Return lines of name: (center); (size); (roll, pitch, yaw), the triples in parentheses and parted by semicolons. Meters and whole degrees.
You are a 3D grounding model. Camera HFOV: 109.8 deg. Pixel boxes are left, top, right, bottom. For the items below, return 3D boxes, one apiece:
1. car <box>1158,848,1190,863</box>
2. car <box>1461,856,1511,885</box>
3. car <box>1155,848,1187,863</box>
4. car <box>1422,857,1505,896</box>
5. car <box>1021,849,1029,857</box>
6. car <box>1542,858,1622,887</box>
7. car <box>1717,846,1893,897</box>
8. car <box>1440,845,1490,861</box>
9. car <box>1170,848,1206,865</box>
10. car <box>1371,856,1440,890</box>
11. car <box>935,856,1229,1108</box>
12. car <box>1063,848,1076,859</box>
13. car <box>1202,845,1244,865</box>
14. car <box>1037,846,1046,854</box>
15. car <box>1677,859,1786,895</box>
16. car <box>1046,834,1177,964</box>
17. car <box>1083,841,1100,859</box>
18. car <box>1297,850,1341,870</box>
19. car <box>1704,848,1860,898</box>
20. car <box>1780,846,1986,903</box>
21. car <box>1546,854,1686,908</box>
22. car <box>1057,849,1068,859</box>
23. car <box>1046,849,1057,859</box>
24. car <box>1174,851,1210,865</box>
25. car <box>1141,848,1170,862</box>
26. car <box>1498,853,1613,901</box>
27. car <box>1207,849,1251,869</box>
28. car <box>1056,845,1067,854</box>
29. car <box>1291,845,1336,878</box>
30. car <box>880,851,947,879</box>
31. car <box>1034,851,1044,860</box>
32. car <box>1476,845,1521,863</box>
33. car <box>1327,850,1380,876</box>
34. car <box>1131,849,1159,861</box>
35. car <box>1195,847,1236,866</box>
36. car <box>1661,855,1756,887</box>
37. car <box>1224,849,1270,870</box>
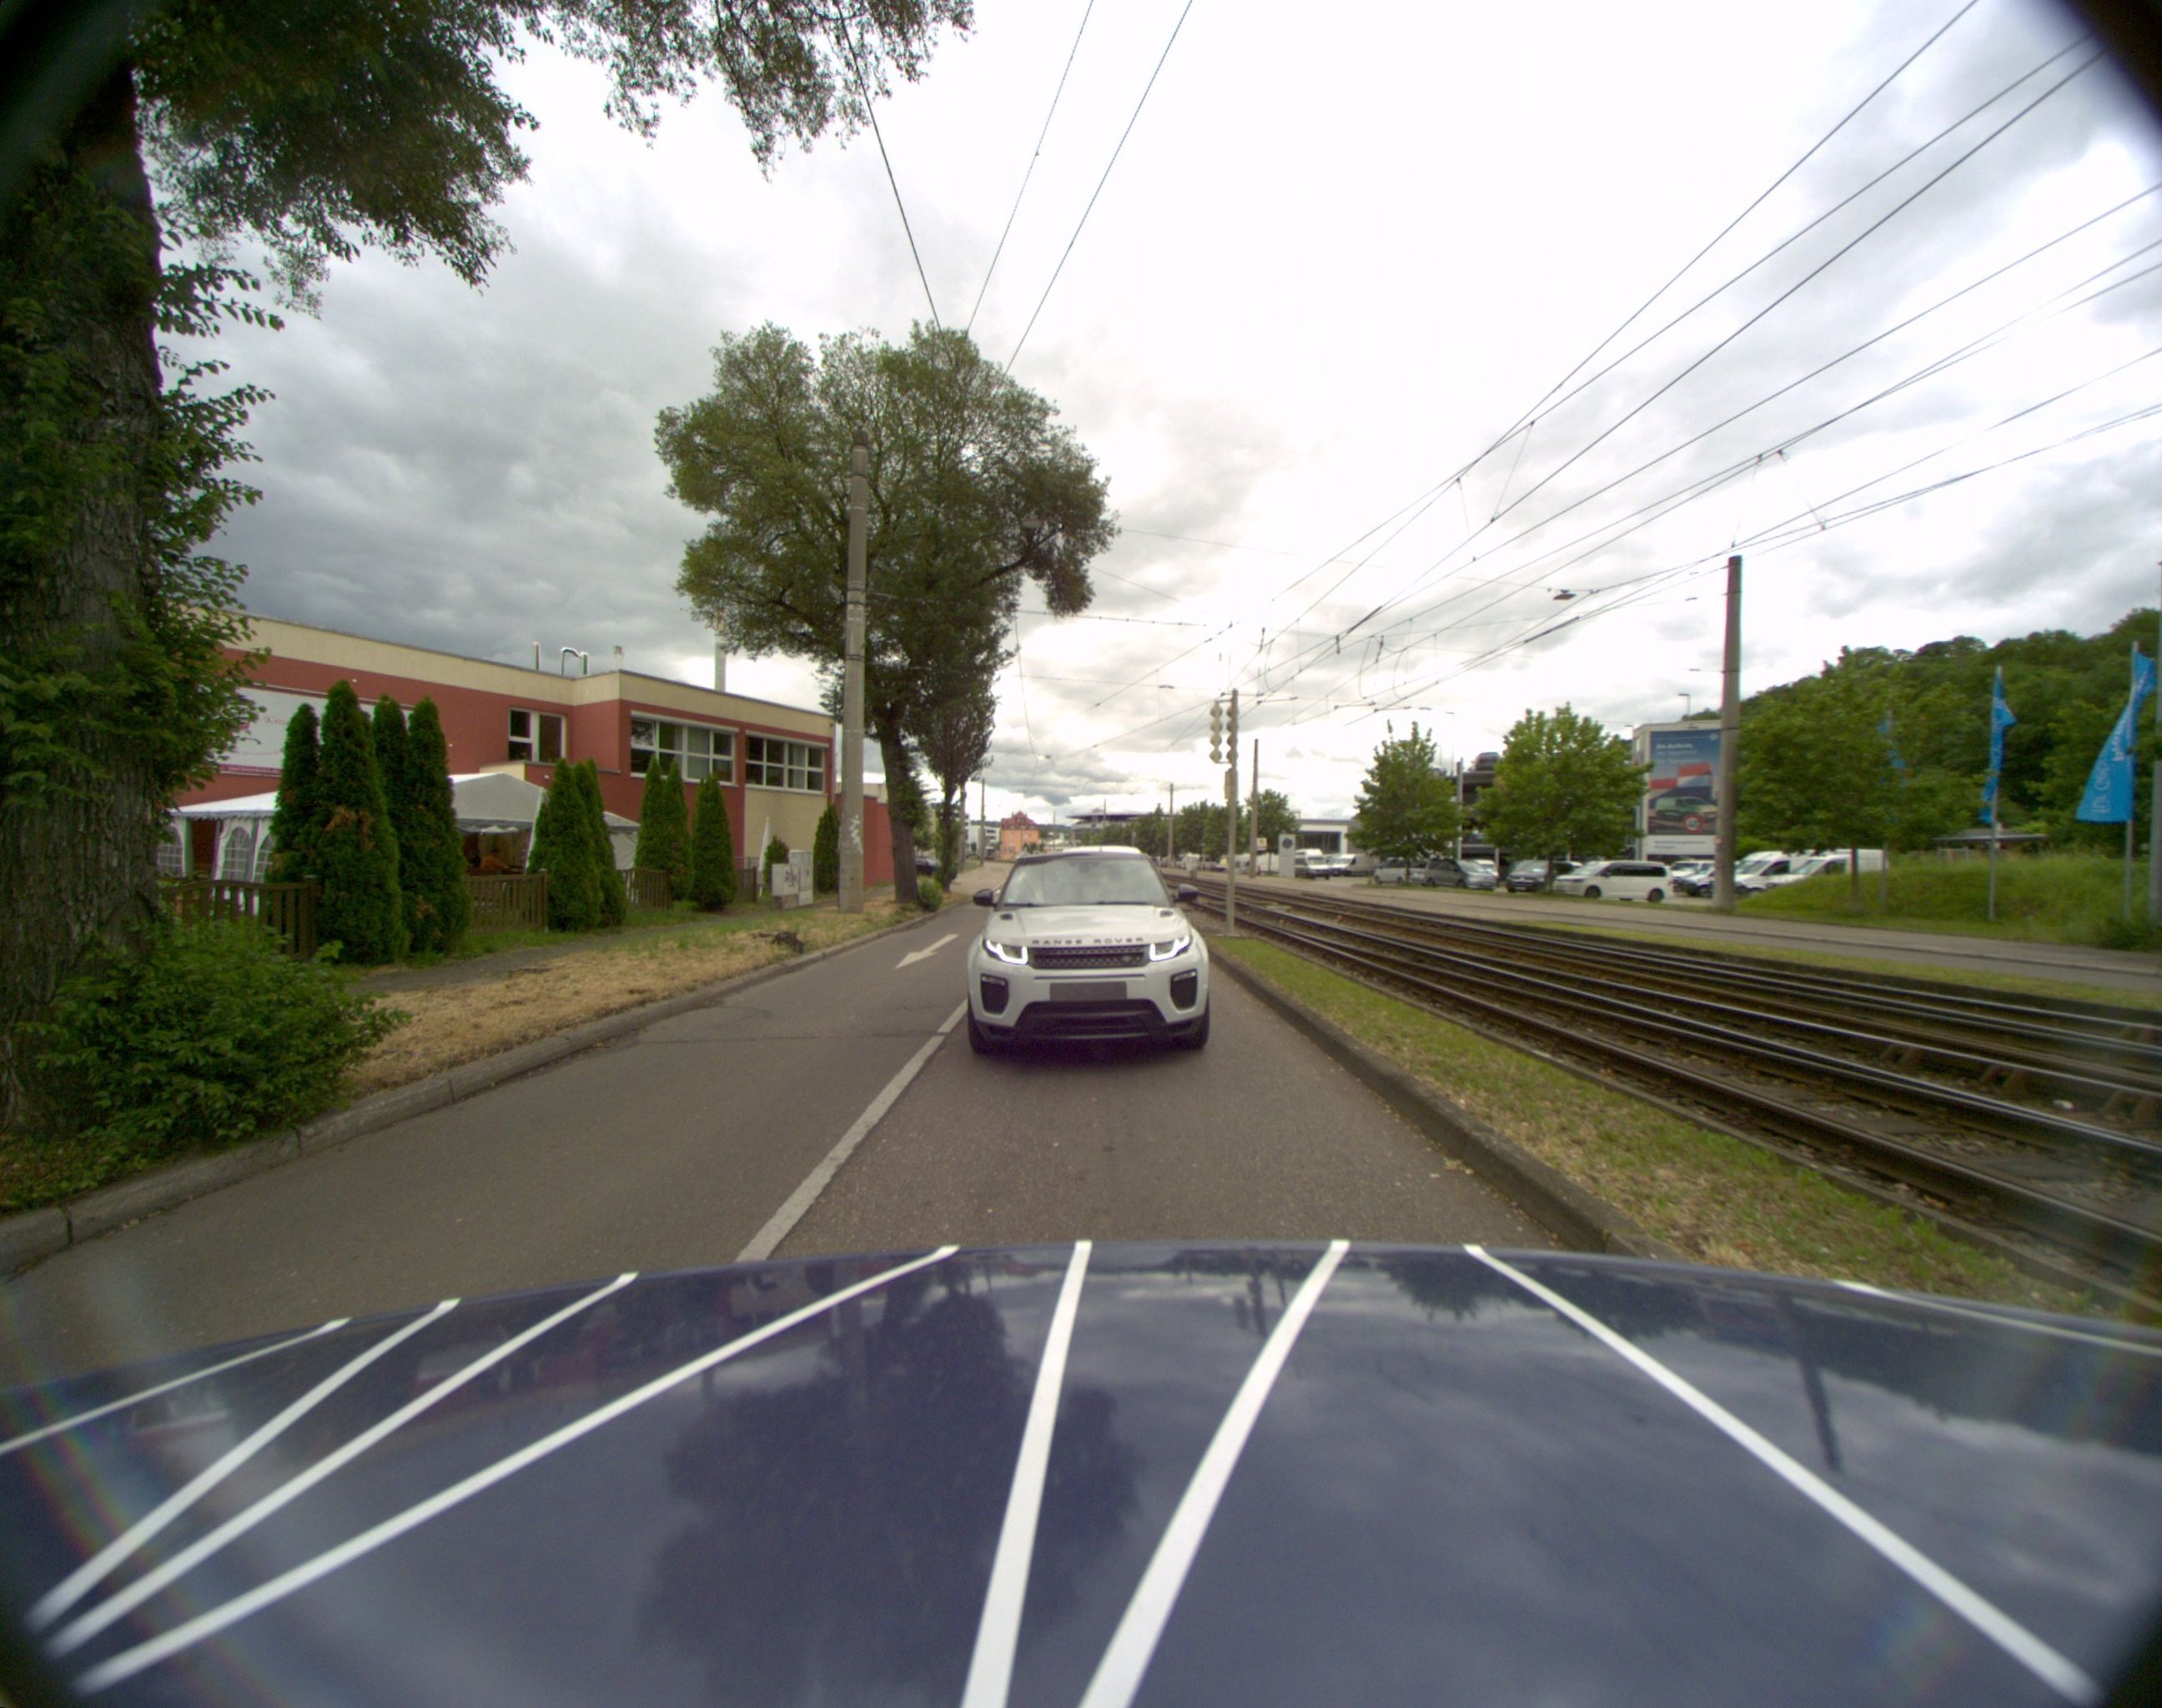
car: (14.784, 0.292, 120.490); (4.639, 2.196, 2.107); (-2, 1, -8)
car: (28.898, 1.138, 54.411); (1.900, 1.882, 4.600); (-2, 1, 12)
car: (14.507, 0.275, 122.925); (4.639, 2.196, 2.107); (-2, 1, -8)
car: (22.994, 1.270, 45.877); (2.142, 2.104, 4.773); (-2, 1, -7)
car: (-15.551, -0.347, 211.033); (2.000, 2.002, 3.997); (-2, 1, -7)
car: (34.417, 1.292, 52.318); (4.228, 1.826, 1.983); (-2, 1, 19)
car: (34.949, 0.850, 36.929); (5.839, 2.254, 2.056); (-2, 1, 22)
car: (46.359, -0.125, 91.799); (5.216, 1.826, 1.983); (-2, 1, 21)
car: (15.562, 0.374, 110.553); (4.639, 2.196, 2.107); (-2, 1, -8)
car: (22.145, 1.236, 52.107); (2.142, 2.104, 4.772); (-2, 1, -8)
car: (0.009, 0.883, 7.323); (1.998, 1.680, 4.268); (0, 1, 0)
car: (-2.204, -0.092, 147.980); (2.000, 2.002, 3.997); (-2, 1, -7)
car: (17.512, 0.124, 93.615); (4.639, 2.196, 2.107); (-2, 1, -8)
car: (-10.600, -0.995, 205.079); (2.000, 2.002, 3.997); (-2, 1, -7)
car: (36.672, 1.276, 42.987); (4.228, 1.826, 1.983); (-2, 1, 19)
car: (0.455, 0.671, 14.193); (1.999, 1.990, 5.033); (0, 1, 0)
car: (1.740, -0.654, 128.019); (2.410, 2.931, 4.747); (-2, 1, -2)
car: (29.140, 0.704, 93.030); (4.636, 2.196, 2.108); (-2, 1, -1)
car: (36.680, 0.999, 39.962); (5.652, 2.446, 1.983); (-2, 1, 19)
car: (34.689, 0.903, 33.129); (5.850, 2.254, 2.056); (-2, 1, 22)
car: (25.278, 1.232, 36.002); (5.269, 2.254, 1.999); (-2, 1, -3)
car: (-4.183, -0.037, 172.147); (2.000, 2.002, 3.997); (-2, 1, -7)
car: (-6.759, -0.005, 172.223); (2.000, 2.002, 3.997); (-2, 1, -7)
car: (15.792, 0.576, 108.149); (4.639, 1.829, 2.107); (-2, 1, -8)
car: (13.038, 0.219, 132.842); (4.639, 2.196, 2.107); (-2, 1, -8)
car: (24.696, 1.178, 39.670); (4.774, 2.254, 1.979); (-2, 1, -3)
car: (17.720, 0.590, 91.180); (4.639, 2.196, 2.107); (-2, 1, -8)
car: (-4.605, -1.077, 178.520); (2.000, 2.002, 3.997); (-2, 1, -7)
car: (22.422, 0.662, 73.598); (2.320, 2.994, 6.157); (-2, 1, 0)
car: (-10.928, 0.689, 49.710); (3.999, 1.636, 1.895); (-2, 1, -6)
car: (-10.242, 0.349, 185.592); (2.000, 2.002, 3.997); (-2, 1, -7)
car: (47.183, -0.042, 86.014); (4.227, 1.826, 1.983); (-2, 1, 21)
car: (30.345, 0.959, 84.567); (6.057, 2.608, 2.316); (-3, 1, -34)
car: (11.874, 0.168, 141.325); (4.639, 2.196, 2.107); (-2, 1, -8)
car: (17.092, 0.304, 96.400); (4.639, 2.196, 2.107); (-2, 1, -8)
car: (39.893, 1.090, 48.398); (4.228, 1.826, 1.983); (-2, 1, 19)
car: (18.811, 0.606, 86.094); (4.639, 2.196, 2.107); (-2, 1, -8)
